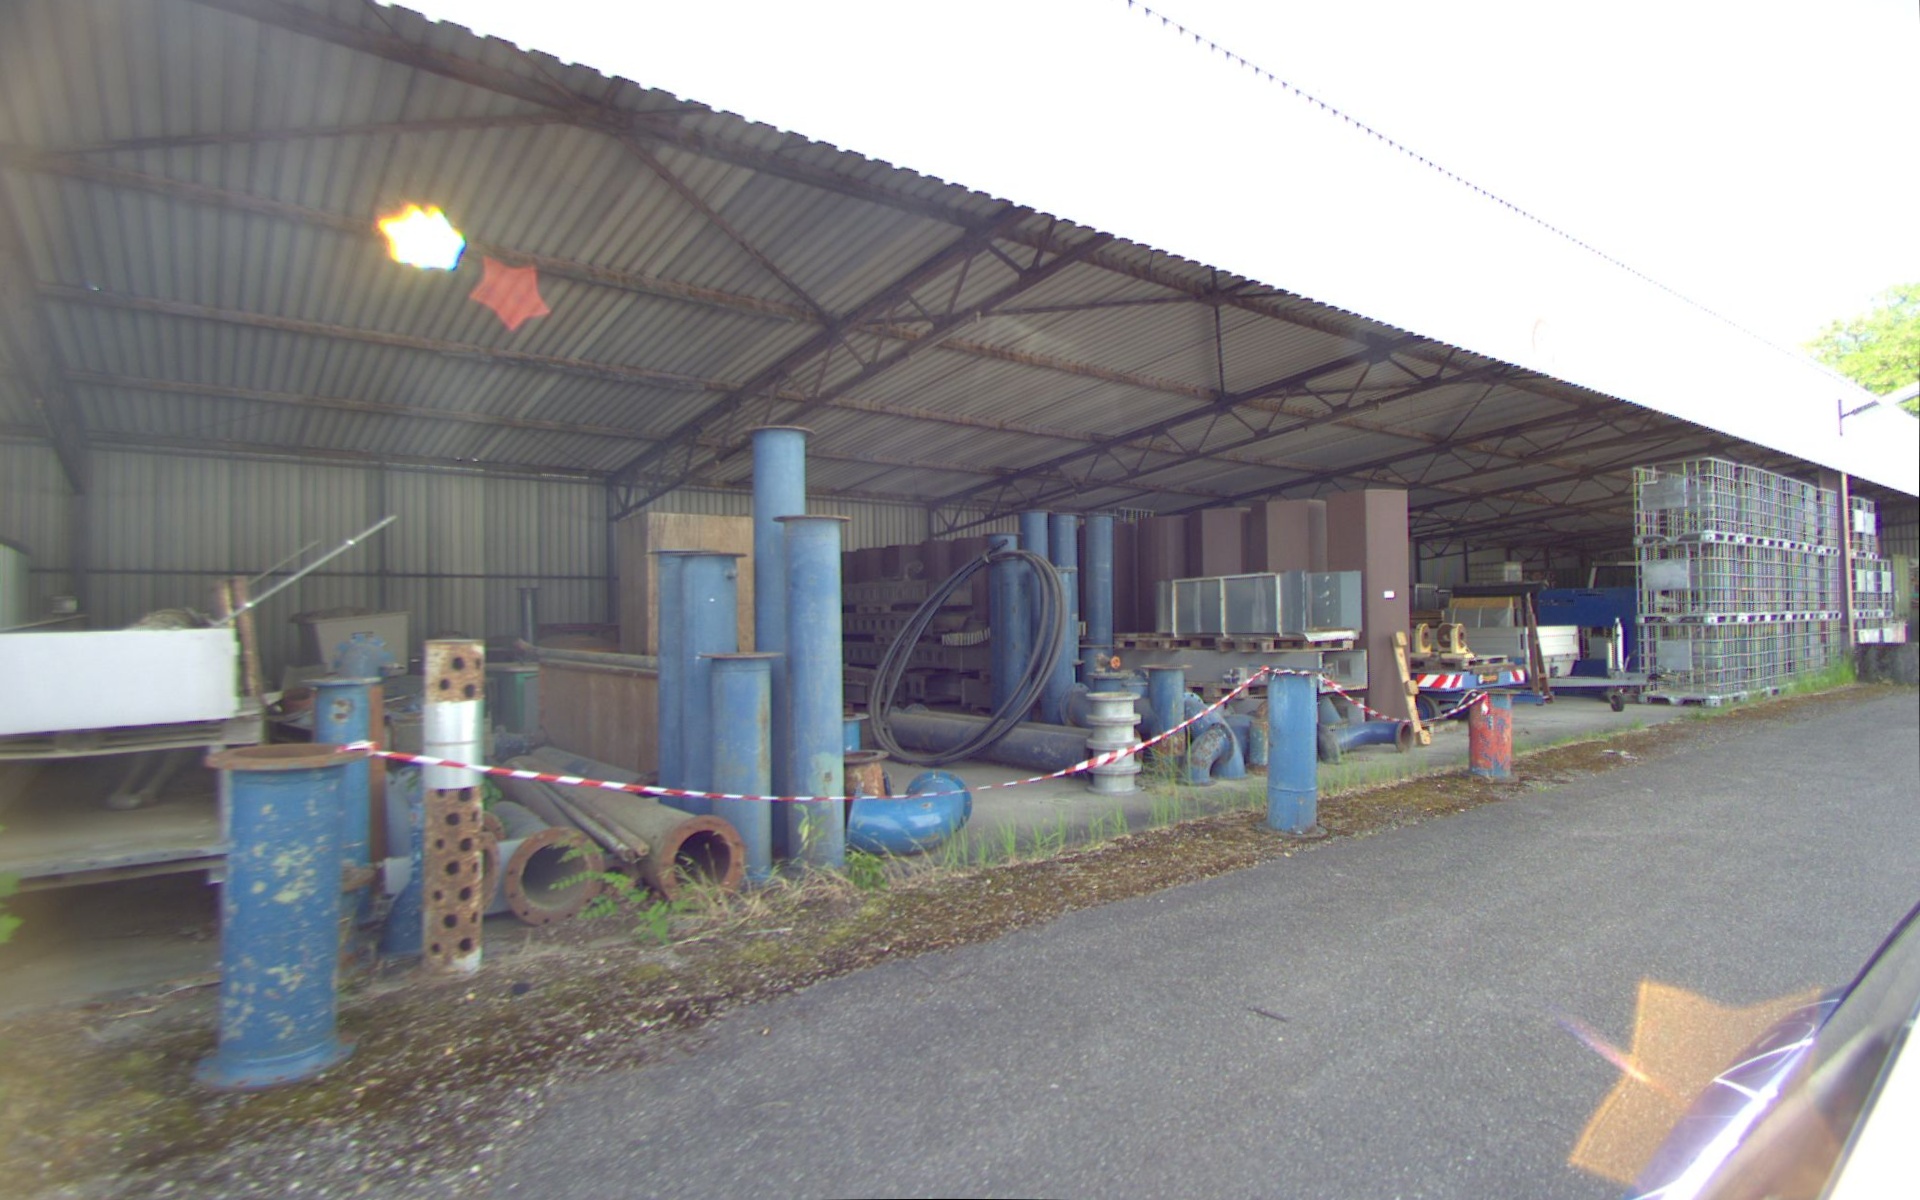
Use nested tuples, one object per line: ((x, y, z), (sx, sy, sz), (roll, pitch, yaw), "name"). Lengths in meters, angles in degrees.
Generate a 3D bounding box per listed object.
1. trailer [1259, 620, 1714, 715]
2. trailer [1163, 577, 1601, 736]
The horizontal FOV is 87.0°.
((7.603, 0.888, 15.343), (1.992, 1.134, 5.835), (0, -1, -38), "trailer")
((5.182, 0.620, 13.099), (1.992, 1.649, 4.878), (0, -1, -38), "trailer")
